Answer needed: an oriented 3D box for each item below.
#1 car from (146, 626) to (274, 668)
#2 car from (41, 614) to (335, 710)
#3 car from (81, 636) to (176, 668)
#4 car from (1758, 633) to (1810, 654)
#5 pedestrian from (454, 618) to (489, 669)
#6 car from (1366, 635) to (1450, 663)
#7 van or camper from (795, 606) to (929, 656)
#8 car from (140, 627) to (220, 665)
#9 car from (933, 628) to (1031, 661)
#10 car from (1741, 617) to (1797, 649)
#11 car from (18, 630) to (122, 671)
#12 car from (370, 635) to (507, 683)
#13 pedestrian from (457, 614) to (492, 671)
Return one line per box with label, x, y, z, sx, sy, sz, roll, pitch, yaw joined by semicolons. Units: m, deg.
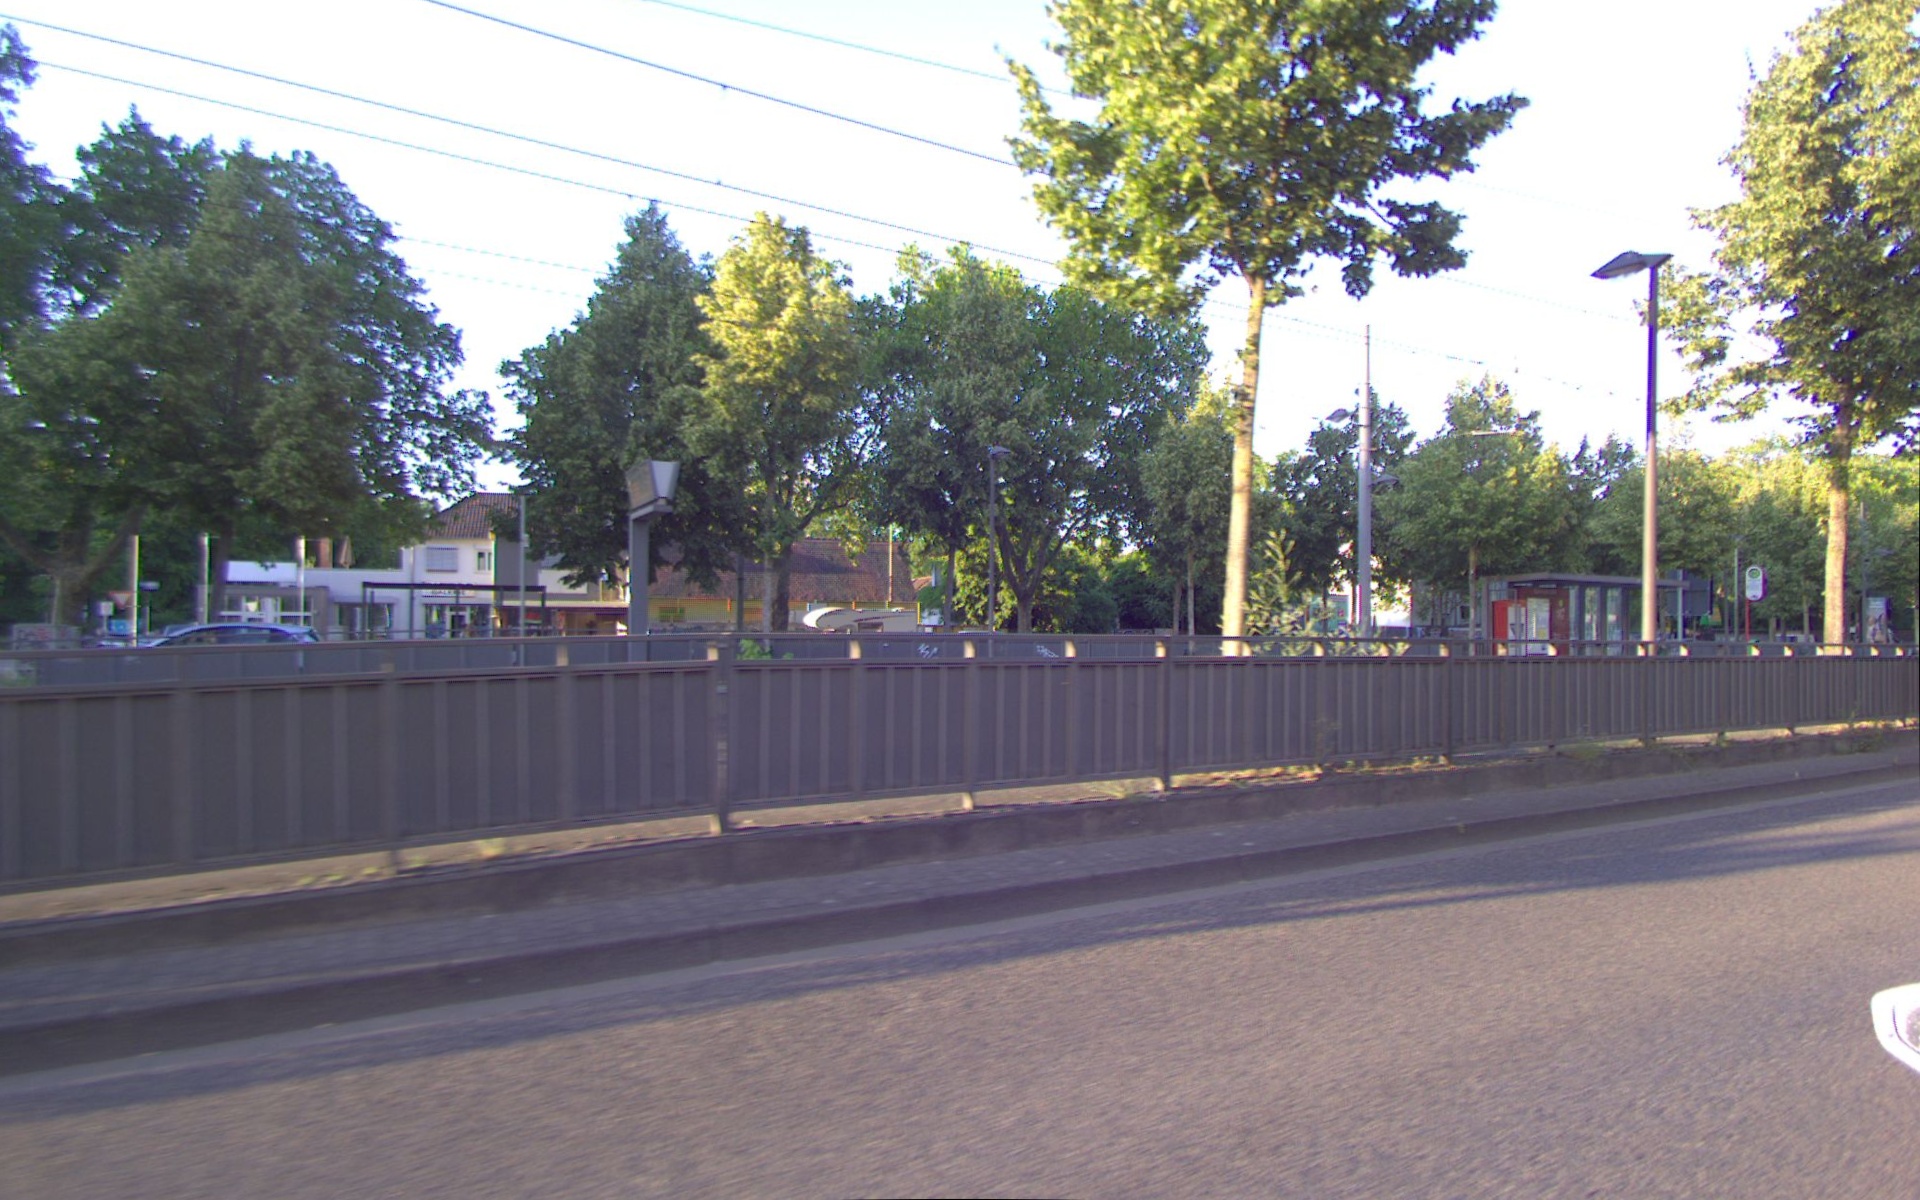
car;-34.425;2.161;46.246;4.328;1.859;1.938;1;-2;-23
car;-15.349;1.220;20.358;4.498;1.750;1.846;2;-2;-32
car;-43.840;2.703;53.083;1.963;1.594;3.996;1;-2;-8
car;72.285;3.810;88.083;4.163;1.839;1.901;2;-3;-25
pedestrian;-16.287;1.454;33.501;0.707;1.660;0.897;1;-2;-3
car;24.619;2.710;55.233;4.187;1.484;1.988;1;-2;-25
van or camper;-4.999;1.645;51.524;6.492;2.441;2.252;1;-3;-24
car;-44.293;2.599;57.137;1.887;2.074;3.994;1;-2;-10
car;1.036;2.068;47.043;4.187;1.484;1.988;1;-2;-25
car;58.131;2.388;72.141;3.951;2.213;1.768;1;-2;-29
car;-43.300;2.418;49.009;1.839;1.899;3.871;1;-2;-6
car;-18.494;2.075;35.857;4.187;1.598;1.988;1;-2;-25
pedestrian;-15.617;1.362;32.322;0.707;1.777;0.897;1;-2;-3
